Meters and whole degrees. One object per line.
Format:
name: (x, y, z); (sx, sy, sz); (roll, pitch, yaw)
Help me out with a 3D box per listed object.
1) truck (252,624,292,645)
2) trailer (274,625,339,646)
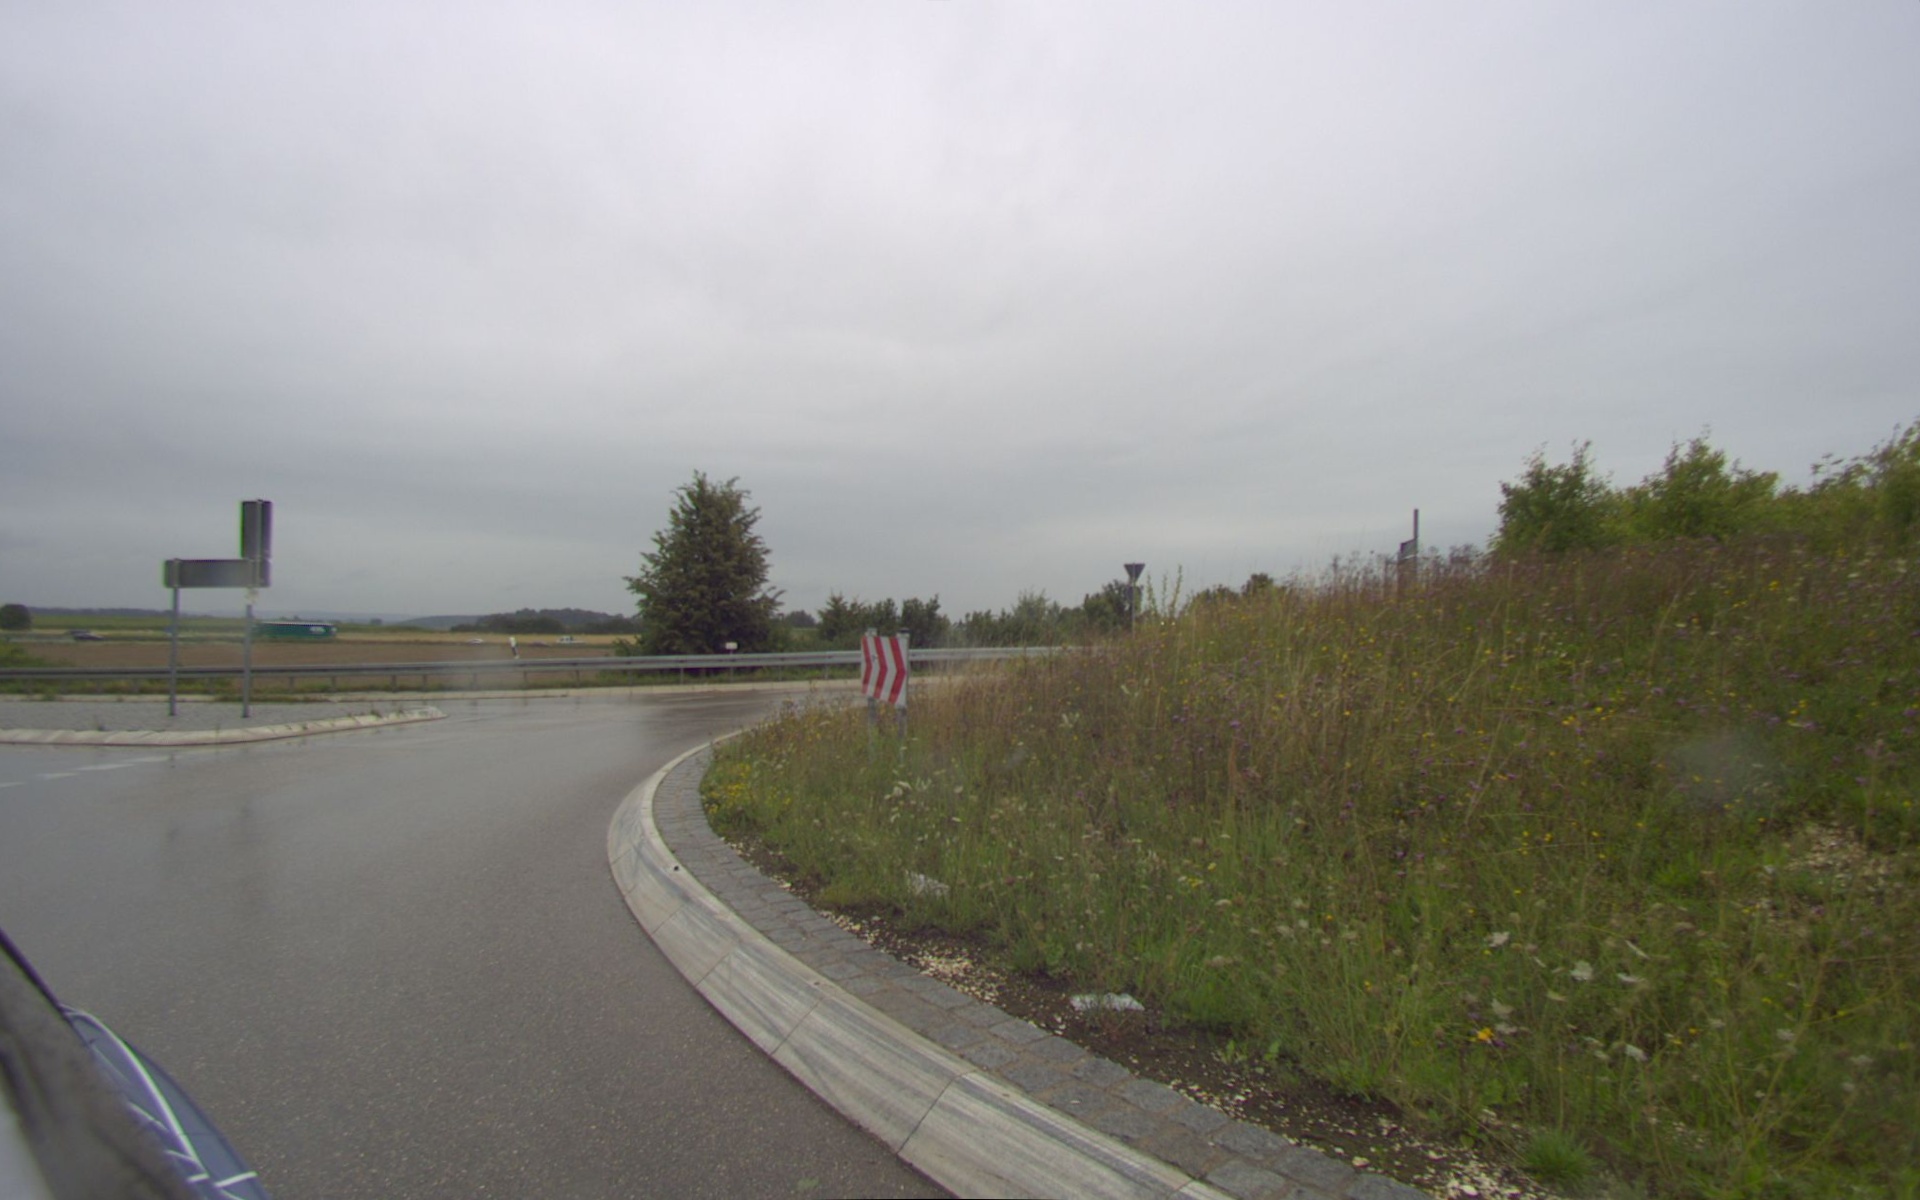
truck: (-144.705, 7.253, 212.805); (6.179, 3.943, 2.954); (2, 0, -6)
trailer: (-137.867, 7.453, 213.552); (11.299, 3.917, 2.954); (2, 0, -6)
